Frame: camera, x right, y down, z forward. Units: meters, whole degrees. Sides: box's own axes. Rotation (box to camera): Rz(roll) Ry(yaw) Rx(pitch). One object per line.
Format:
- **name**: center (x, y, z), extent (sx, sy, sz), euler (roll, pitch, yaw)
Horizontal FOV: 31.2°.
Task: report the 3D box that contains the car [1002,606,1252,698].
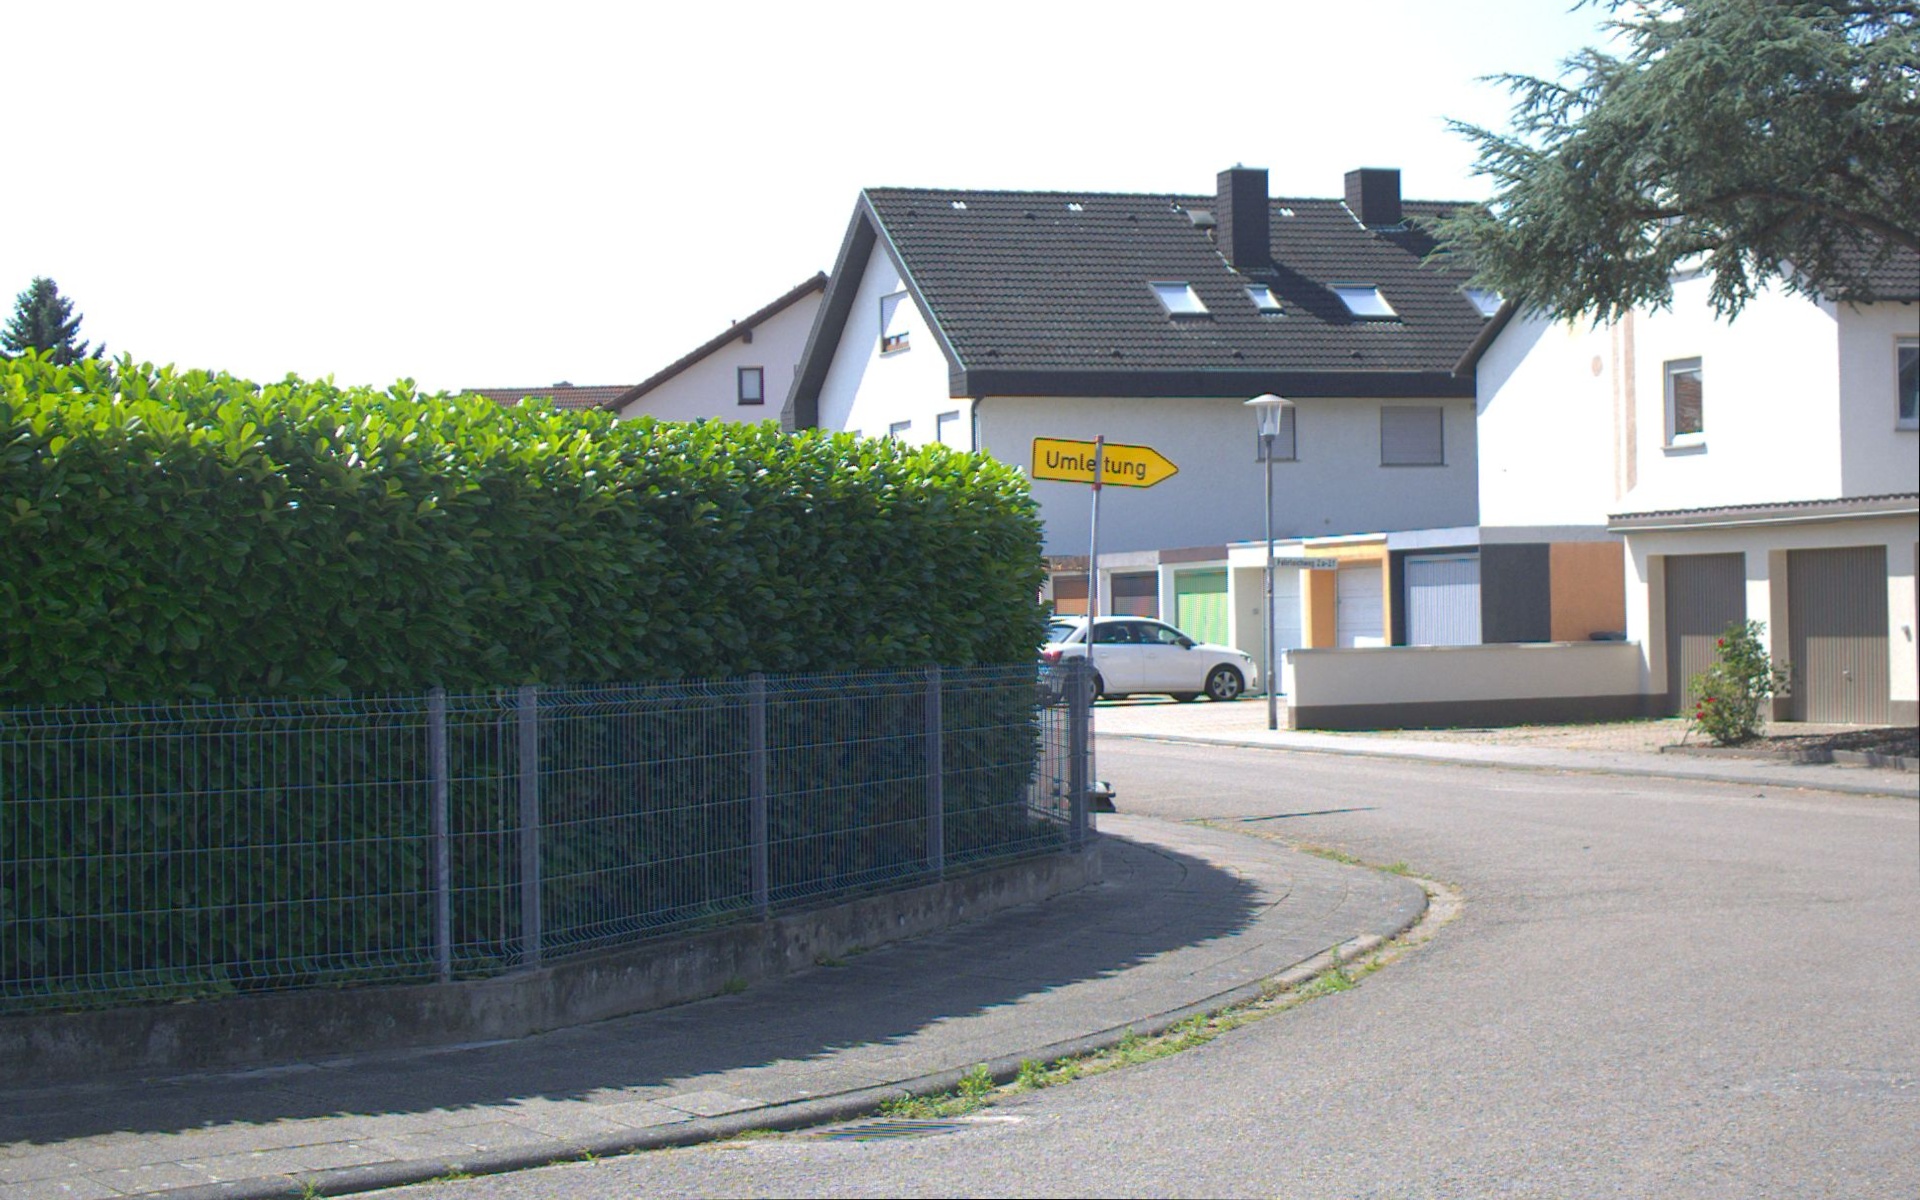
- **car**: center (2.688, 0.824, 55.505), extent (3.598, 1.404, 1.784), euler (-1, 0, -19)
